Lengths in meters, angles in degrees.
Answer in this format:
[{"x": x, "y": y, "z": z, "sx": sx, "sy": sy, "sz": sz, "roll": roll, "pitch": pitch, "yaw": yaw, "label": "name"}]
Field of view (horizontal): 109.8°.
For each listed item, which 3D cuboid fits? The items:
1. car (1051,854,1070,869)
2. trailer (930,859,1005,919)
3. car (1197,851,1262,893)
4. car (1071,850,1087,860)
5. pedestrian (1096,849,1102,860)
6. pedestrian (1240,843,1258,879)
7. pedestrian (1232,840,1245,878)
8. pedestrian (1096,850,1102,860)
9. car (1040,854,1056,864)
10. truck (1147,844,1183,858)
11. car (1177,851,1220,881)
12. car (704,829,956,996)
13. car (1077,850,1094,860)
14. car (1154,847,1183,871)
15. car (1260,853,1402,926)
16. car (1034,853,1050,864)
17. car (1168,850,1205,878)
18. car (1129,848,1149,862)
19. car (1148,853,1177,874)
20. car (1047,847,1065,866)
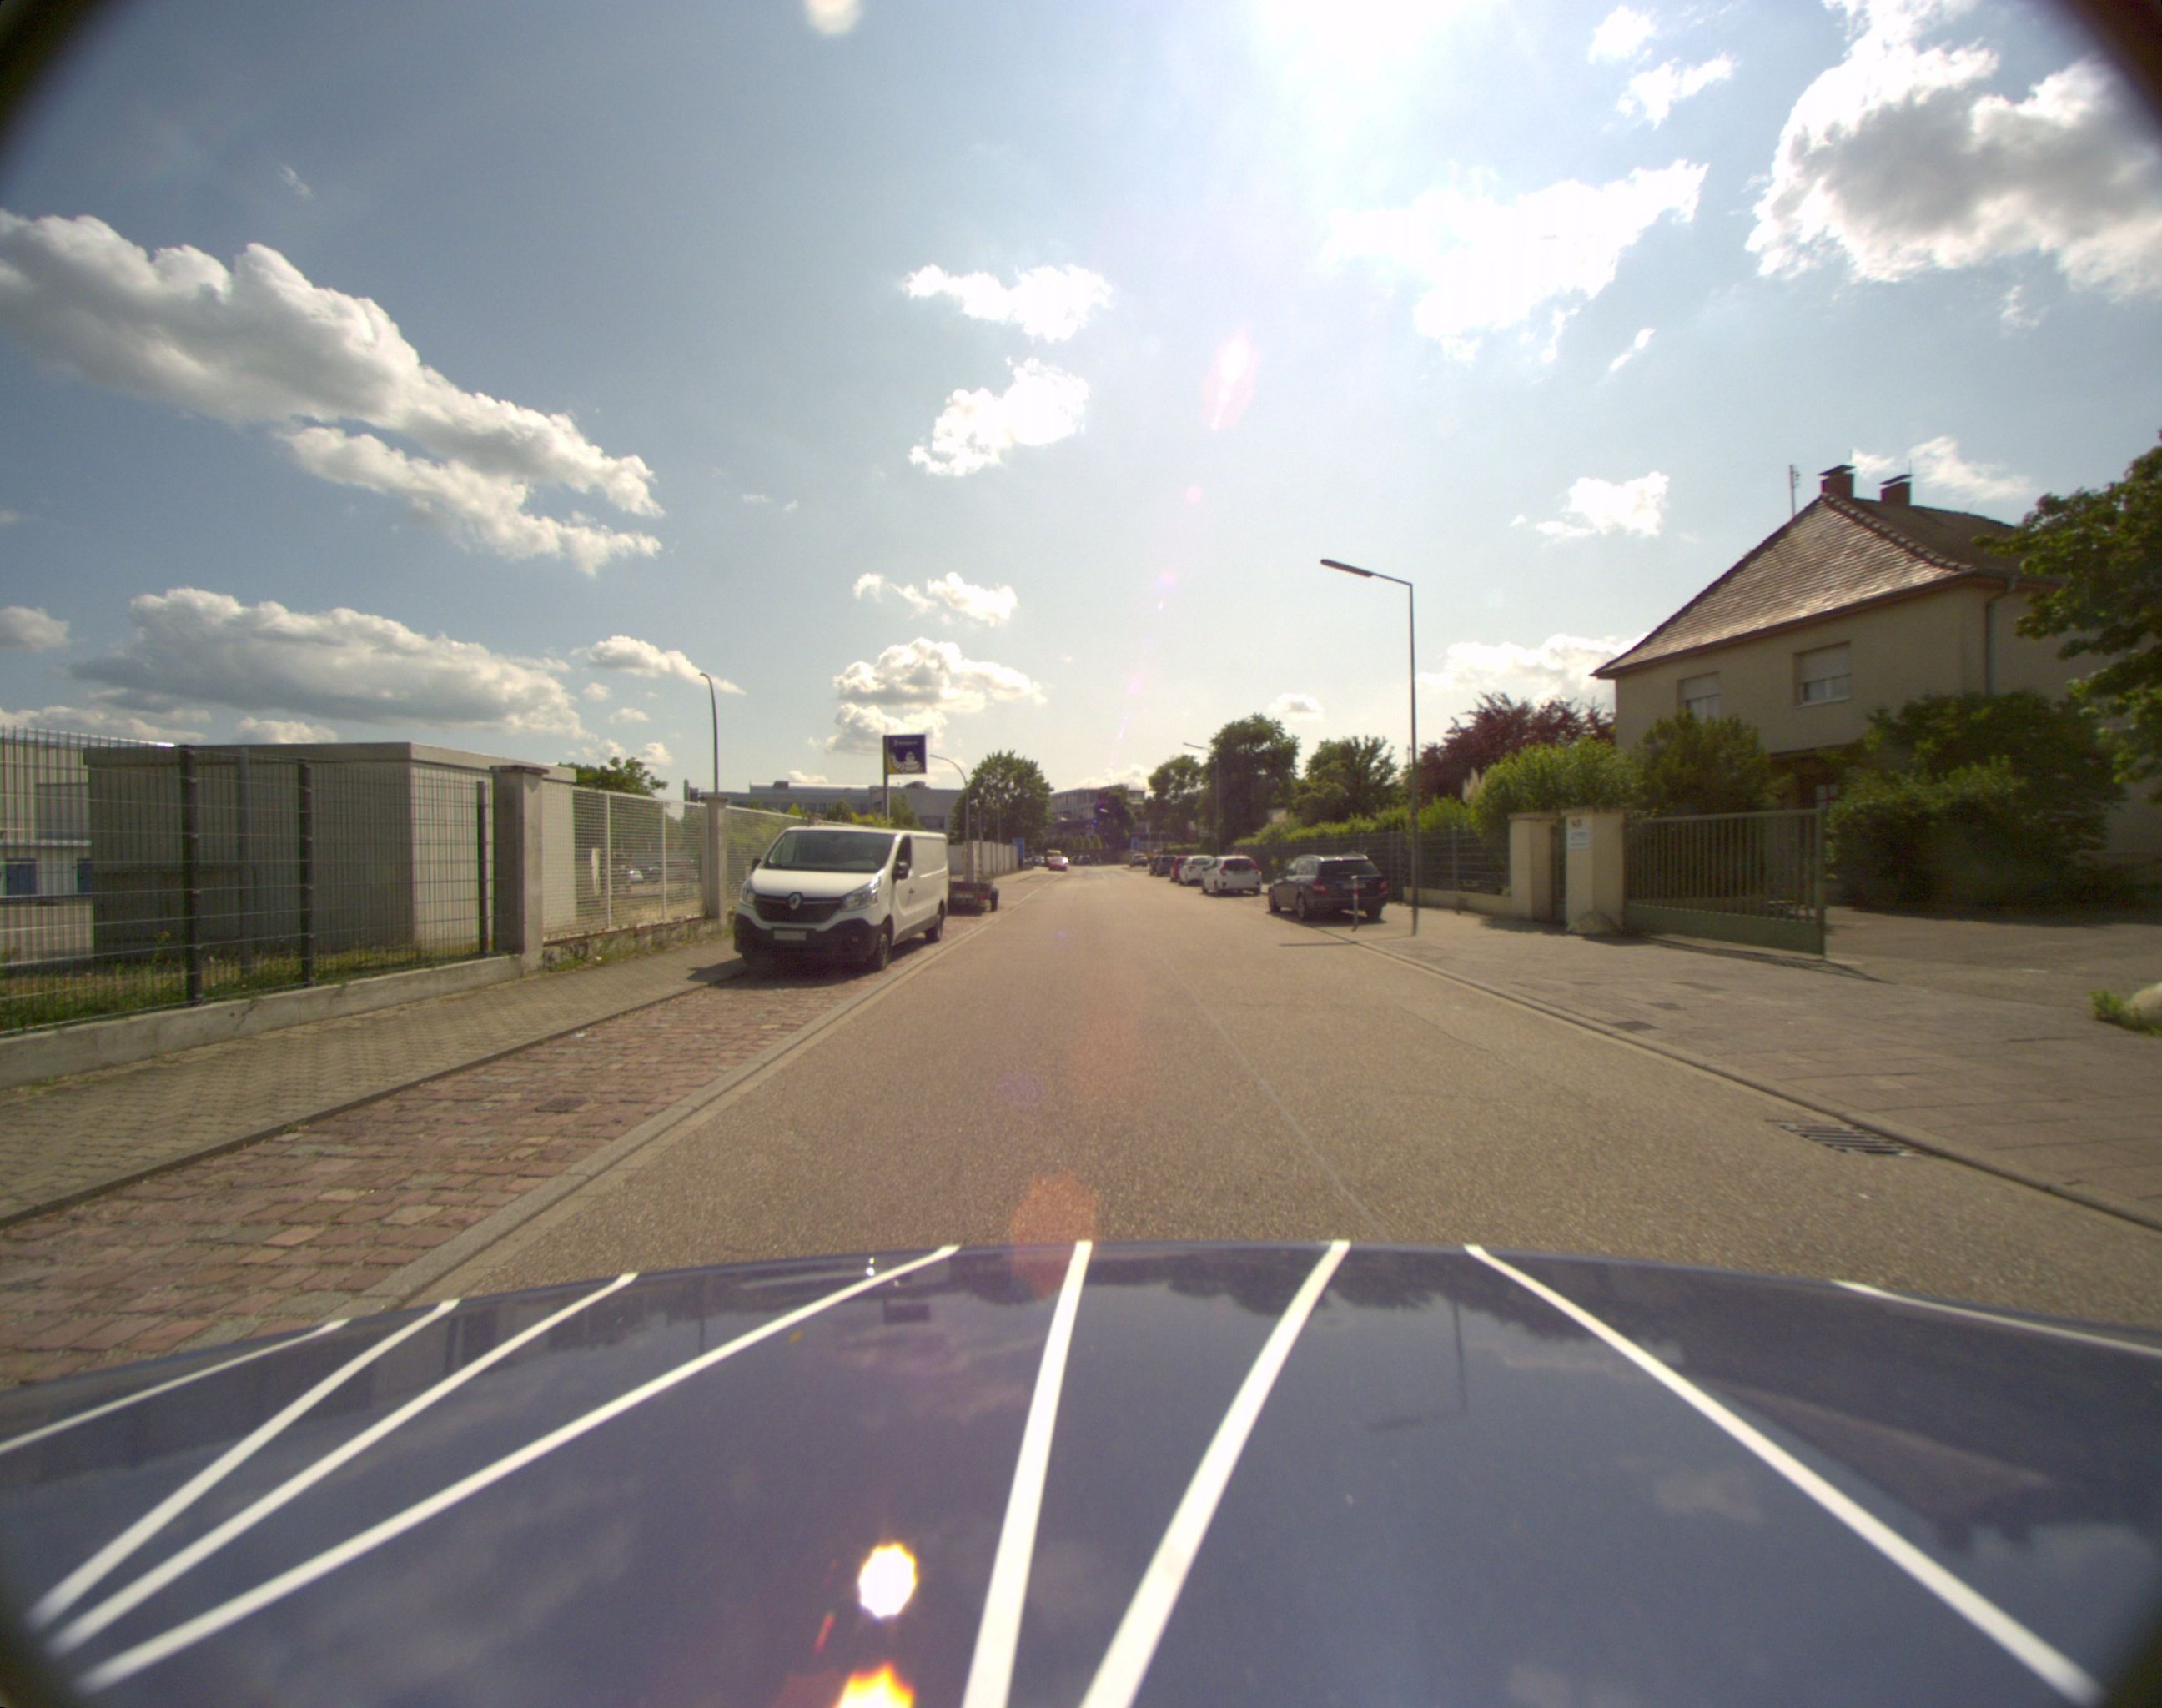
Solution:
[{"x": -2.095, "y": 0.769, "z": 79.972, "sx": 1.758, "sy": 1.478, "sz": 4.224, "roll": 3, "pitch": 0, "yaw": 1, "label": "car"}, {"x": -3.180, "y": 0.942, "z": 22.038, "sx": 1.754, "sy": 1.409, "sz": 4.547, "roll": 2, "pitch": 1, "yaw": -4, "label": "trailer"}, {"x": 5.858, "y": 0.660, "z": 30.374, "sx": 1.624, "sy": 1.513, "sz": 4.174, "roll": -1, "pitch": 0, "yaw": -2, "label": "car"}, {"x": -0.442, "y": 0.246, "z": 137.011, "sx": 1.782, "sy": 1.672, "sz": 4.225, "roll": -3, "pitch": 1, "yaw": -15, "label": "car"}, {"x": 3.117, "y": 0.098, "z": 132.103, "sx": 0.831, "sy": 1.751, "sz": 0.844, "roll": -3, "pitch": 1, "yaw": -8, "label": "pedestrian"}, {"x": 8.504, "y": 0.341, "z": 38.514, "sx": 0.710, "sy": 1.790, "sz": 0.916, "roll": -1, "pitch": 1, "yaw": 1, "label": "pedestrian"}, {"x": 7.907, "y": 0.247, "z": 38.145, "sx": 0.452, "sy": 1.883, "sz": 0.677, "roll": -1, "pitch": 1, "yaw": 1, "label": "pedestrian"}, {"x": 3.166, "y": 0.108, "z": 130.972, "sx": 0.845, "sy": 1.682, "sz": 0.830, "roll": -3, "pitch": 1, "yaw": -8, "label": "pedestrian"}, {"x": -5.065, "y": 0.820, "z": 116.138, "sx": 1.839, "sy": 1.484, "sz": 4.651, "roll": 0, "pitch": 0, "yaw": -12, "label": "car"}, {"x": 16.850, "y": -0.583, "z": 152.453, "sx": 6.943, "sy": 2.642, "sz": 2.400, "roll": -1, "pitch": 0, "yaw": -25, "label": "truck"}, {"x": 6.071, "y": 0.580, "z": 39.617, "sx": 1.649, "sy": 1.468, "sz": 4.028, "roll": -1, "pitch": 1, "yaw": 0, "label": "car"}, {"x": -3.479, "y": 0.683, "z": 11.952, "sx": 1.998, "sy": 2.002, "sz": 5.649, "roll": 0, "pitch": 0, "yaw": 1, "label": "car"}, {"x": 0.747, "y": 0.186, "z": 131.555, "sx": 1.806, "sy": 1.641, "sz": 4.683, "roll": -2, "pitch": 1, "yaw": -14, "label": "car"}, {"x": 6.486, "y": 0.356, "z": 56.455, "sx": 1.655, "sy": 1.636, "sz": 3.273, "roll": -4, "pitch": 0, "yaw": -1, "label": "car"}, {"x": 5.736, "y": 0.733, "z": 18.041, "sx": 1.810, "sy": 1.410, "sz": 4.496, "roll": -3, "pitch": 0, "yaw": 0, "label": "car"}, {"x": -6.334, "y": 0.696, "z": 122.421, "sx": 1.856, "sy": 1.755, "sz": 5.072, "roll": 1, "pitch": 0, "yaw": -11, "label": "car"}, {"x": 6.090, "y": 0.537, "z": 44.282, "sx": 1.670, "sy": 1.458, "sz": 3.743, "roll": -2, "pitch": 1, "yaw": 2, "label": "car"}, {"x": 6.920, "y": 0.088, "z": 90.968, "sx": 1.762, "sy": 1.565, "sz": 4.475, "roll": -2, "pitch": 1, "yaw": -3, "label": "car"}, {"x": 6.537, "y": 0.756, "z": 61.124, "sx": 1.849, "sy": 1.499, "sz": 4.000, "roll": -4, "pitch": 0, "yaw": 1, "label": "car"}, {"x": -3.464, "y": 0.320, "z": 104.302, "sx": 2.163, "sy": 2.450, "sz": 6.635, "roll": 0, "pitch": 0, "yaw": -5, "label": "car"}]
